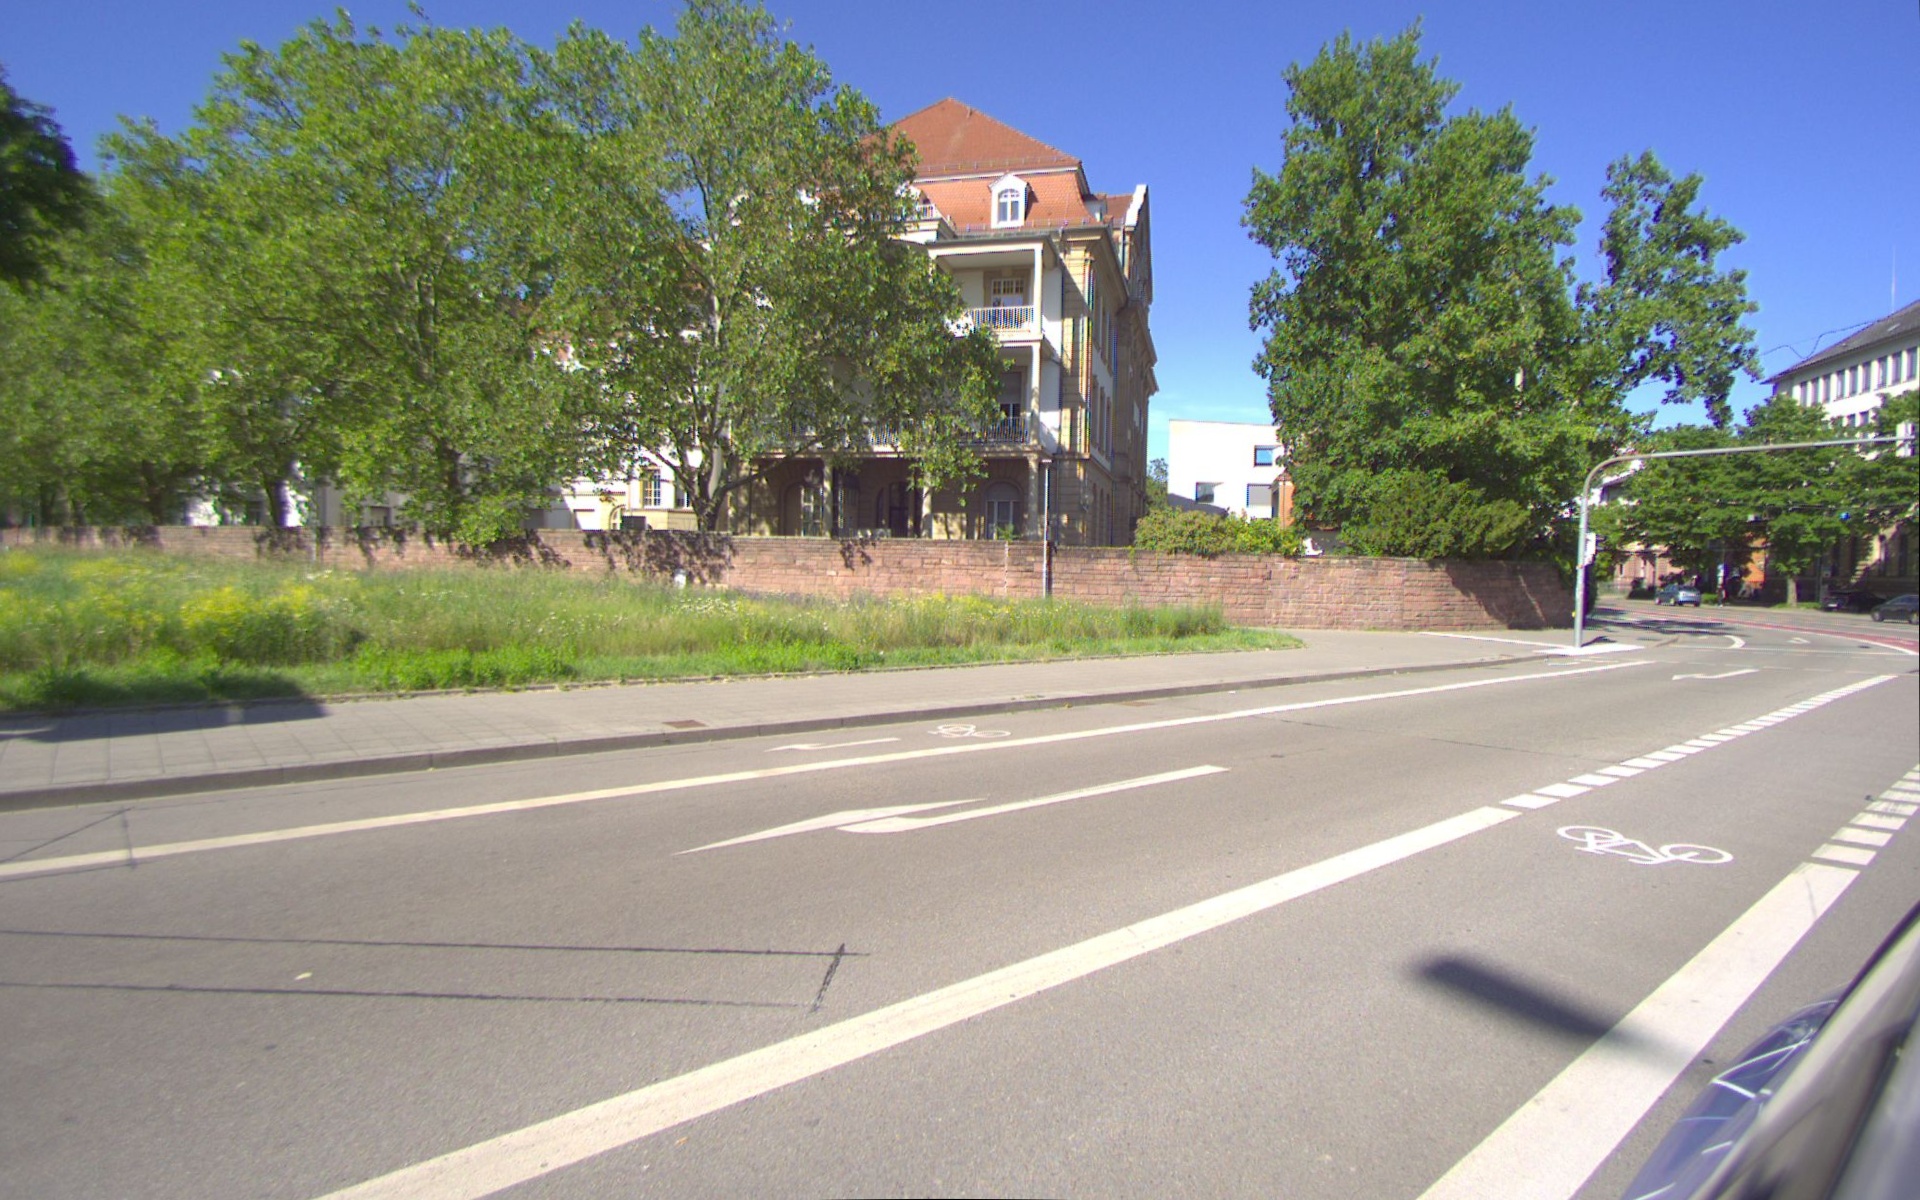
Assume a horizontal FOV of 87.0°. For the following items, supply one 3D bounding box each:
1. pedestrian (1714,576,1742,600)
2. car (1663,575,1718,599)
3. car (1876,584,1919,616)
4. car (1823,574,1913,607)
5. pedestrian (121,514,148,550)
[{"bbox_3d":[60.964,-0.931,80.342,1.366,1.844,0.937,1,1,4],"label":"pedestrian"},{"bbox_3d":[54.734,-1.015,75.930,1.834,1.561,4.224,3,3,14],"label":"car"},{"bbox_3d":[48.607,0.041,50.572,1.764,1.517,4.569,2,3,7],"label":"car"},{"bbox_3d":[61.205,-0.649,68.251,4.615,2.038,2.004,1,2,-9],"label":"car"},{"bbox_3d":[-34.121,-2.808,41.835,0.516,1.461,0.721,0,0,20],"label":"pedestrian"}]
